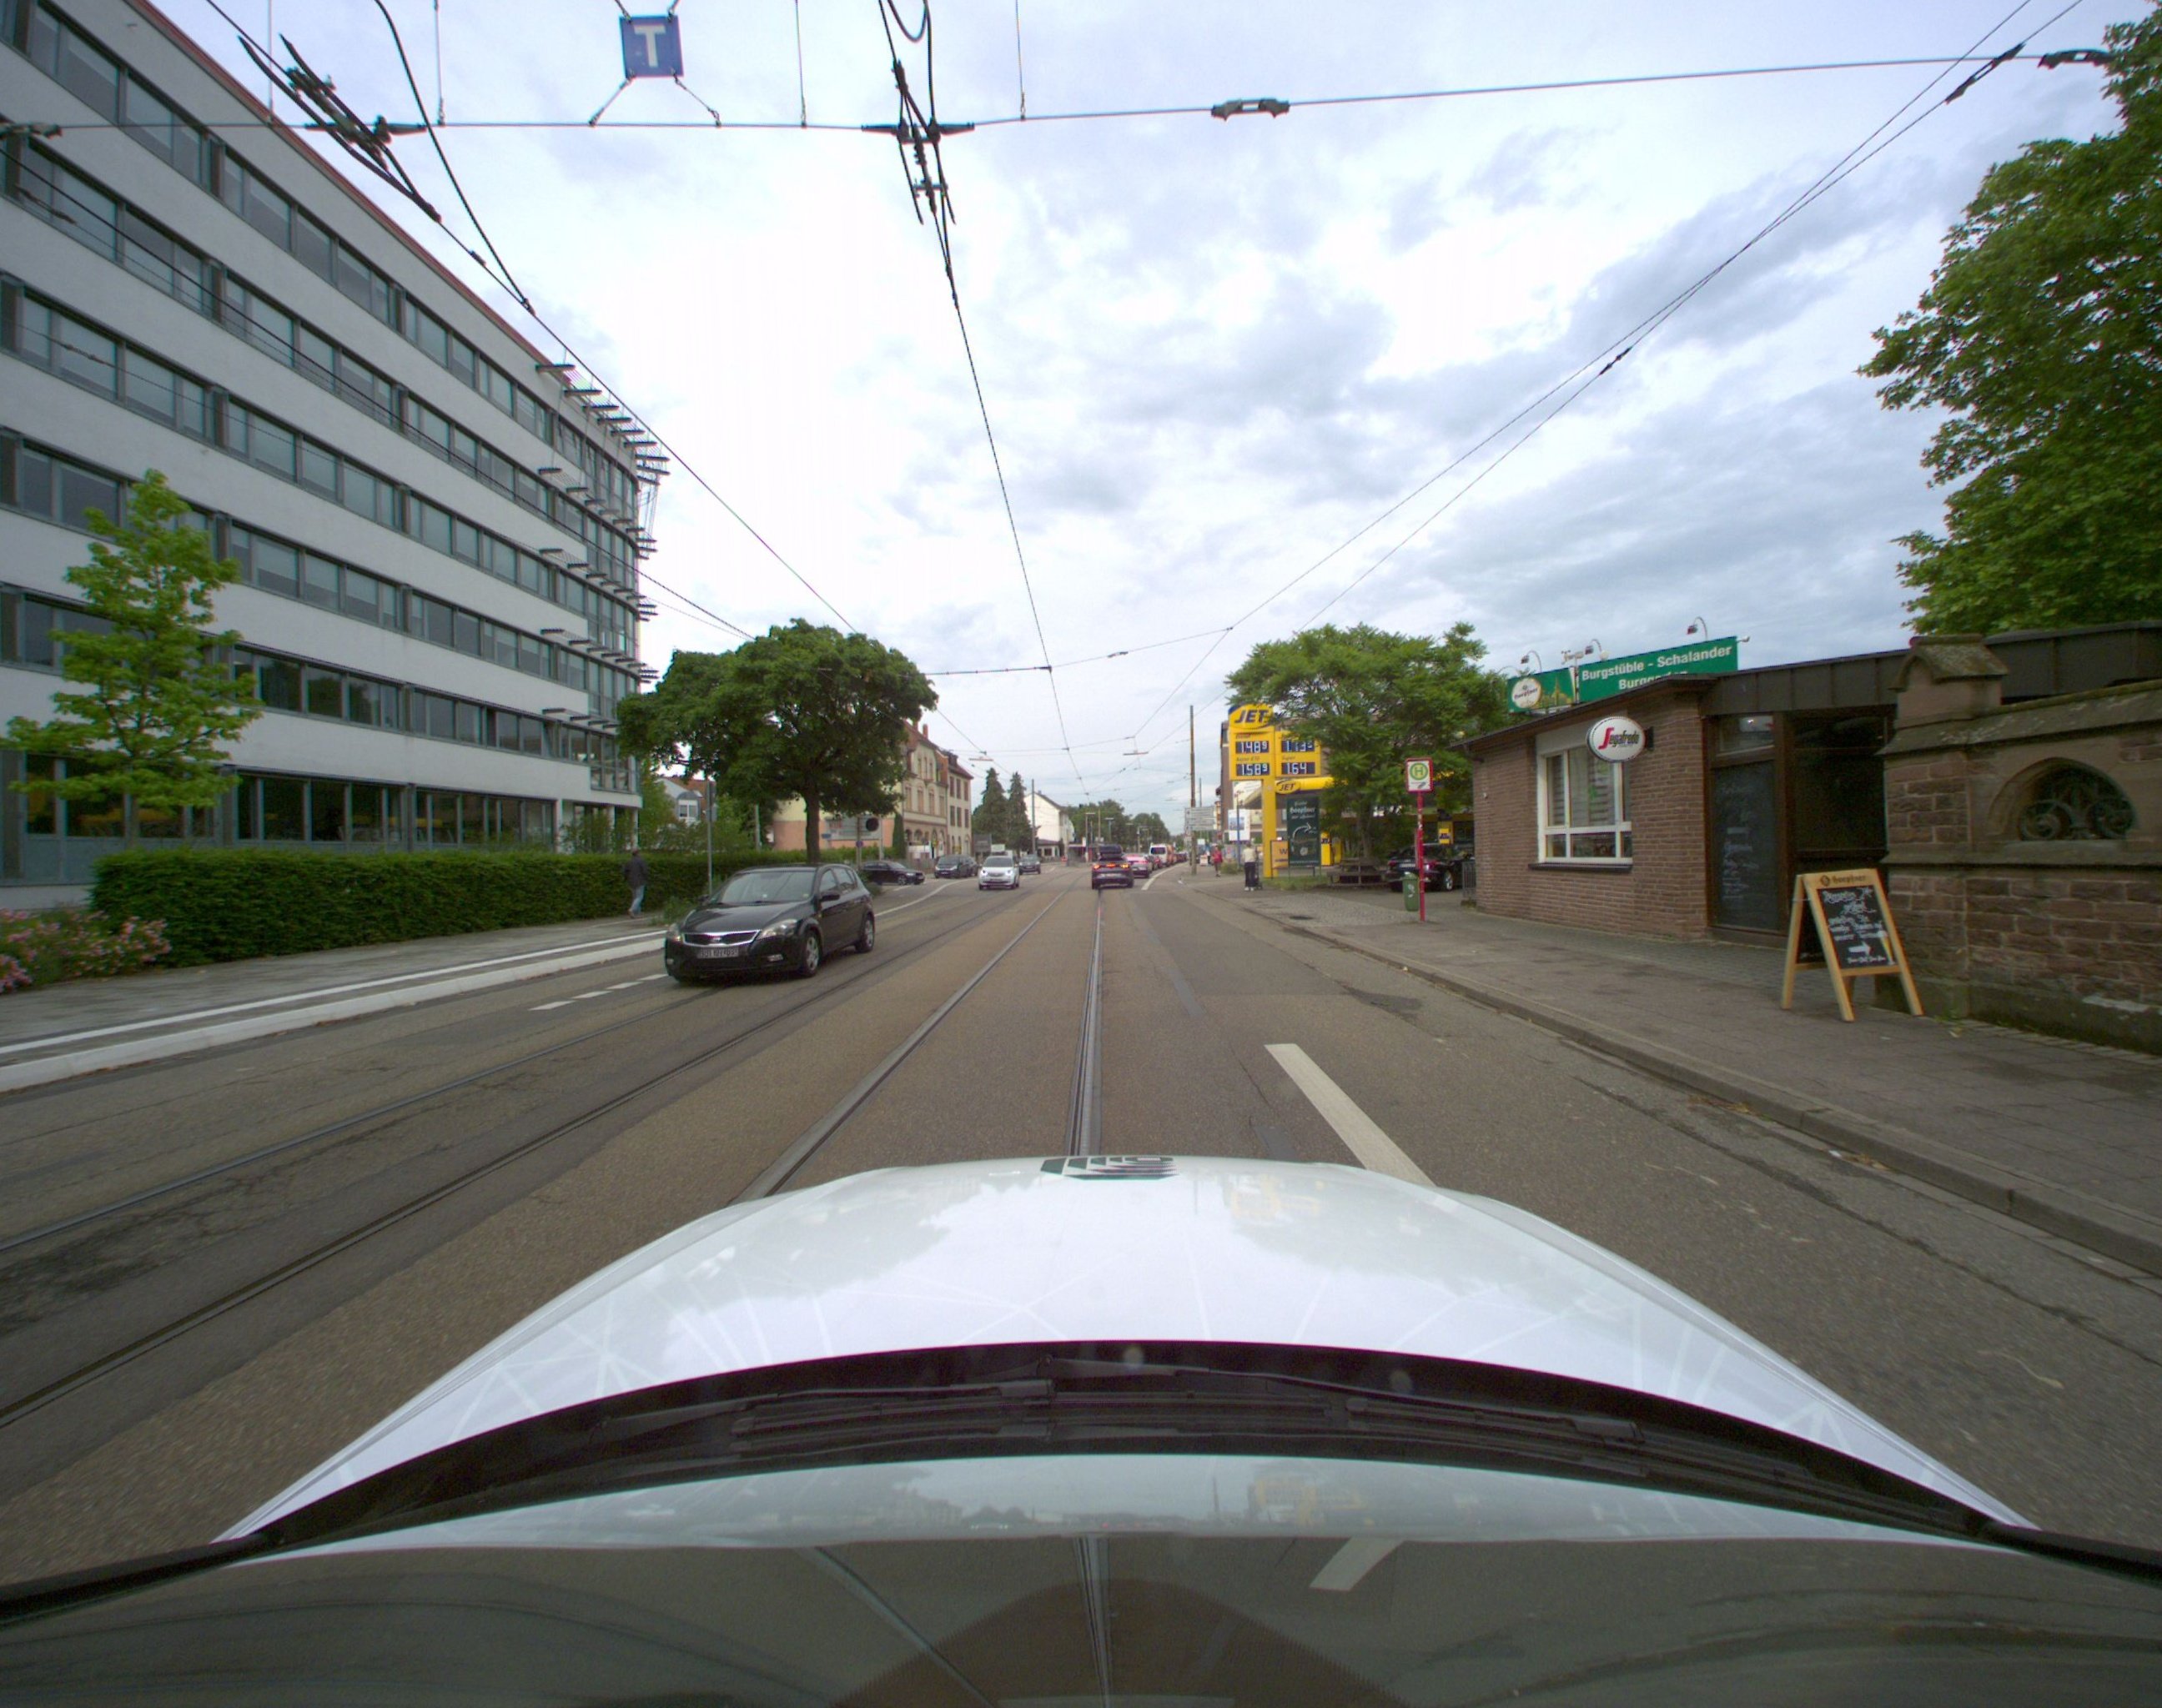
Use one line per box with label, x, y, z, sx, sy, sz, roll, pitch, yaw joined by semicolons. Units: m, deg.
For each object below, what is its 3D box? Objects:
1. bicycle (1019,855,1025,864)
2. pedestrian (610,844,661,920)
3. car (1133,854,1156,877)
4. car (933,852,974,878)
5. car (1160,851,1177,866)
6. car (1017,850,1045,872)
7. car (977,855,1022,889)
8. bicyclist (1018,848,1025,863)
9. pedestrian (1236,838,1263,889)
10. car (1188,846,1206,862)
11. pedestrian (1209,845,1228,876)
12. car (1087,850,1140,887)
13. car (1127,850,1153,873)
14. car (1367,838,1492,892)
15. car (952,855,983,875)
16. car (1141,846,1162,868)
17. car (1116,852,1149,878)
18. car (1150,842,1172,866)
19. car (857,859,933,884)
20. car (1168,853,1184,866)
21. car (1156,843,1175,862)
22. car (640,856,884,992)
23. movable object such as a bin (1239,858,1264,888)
bicycle;-7.246;0.725;99.692;0.586;1.074;1.951;-2;0;-8
pedestrian;-11.944;0.738;21.857;0.706;2.014;0.993;0;-1;8
car;5.657;1.036;72.436;1.985;2.014;4.004;0;-1;4
car;-9.862;0.852;63.344;1.982;1.887;5.004;0;-1;5
car;12.052;0.570;112.187;1.986;2.014;4.001;0;-1;2
car;-4.137;0.606;68.050;1.820;1.737;4.337;-2;-1;2
car;-3.812;0.829;38.693;1.698;1.530;3.742;-1;-1;0
bicyclist;-7.268;0.219;99.699;0.735;1.749;0.976;-2;0;-9
pedestrian;6.149;0.342;29.717;0.762;1.797;1.167;-4;-1;16
car;13.398;0.034;94.434;1.866;1.823;4.101;0;-1;5
pedestrian;8.090;0.379;47.906;0.967;1.738;0.862;-3;-1;4
car;1.544;0.639;37.065;1.979;1.497;4.335;-2;-1;7
car;4.646;0.566;64.350;1.960;1.756;3.841;0;-1;3
car;10.852;0.303;25.180;4.611;1.407;1.911;-3;1;-45
car;-9.768;0.946;70.208;1.836;1.718;4.197;0;-1;3
car;6.836;0.283;78.618;1.984;2.014;4.006;0;-1;5
car;3.185;0.652;50.950;1.974;1.550;4.185;0;0;2
car;8.404;0.008;86.117;2.206;2.423;4.956;0;-1;4
car;-10.728;1.016;46.913;3.885;1.388;1.812;-1;0;22
car;14.486;0.864;124.434;1.986;2.014;4.001;0;-1;2
car;9.846;-0.157;95.606;2.129;2.146;4.750;0;-1;5
car;-4.275;0.833;11.694;1.741;1.486;4.065;-2;1;2
movable object such as a bin;6.395;0.703;30.499;0.762;1.039;1.028;-4;-1;16
